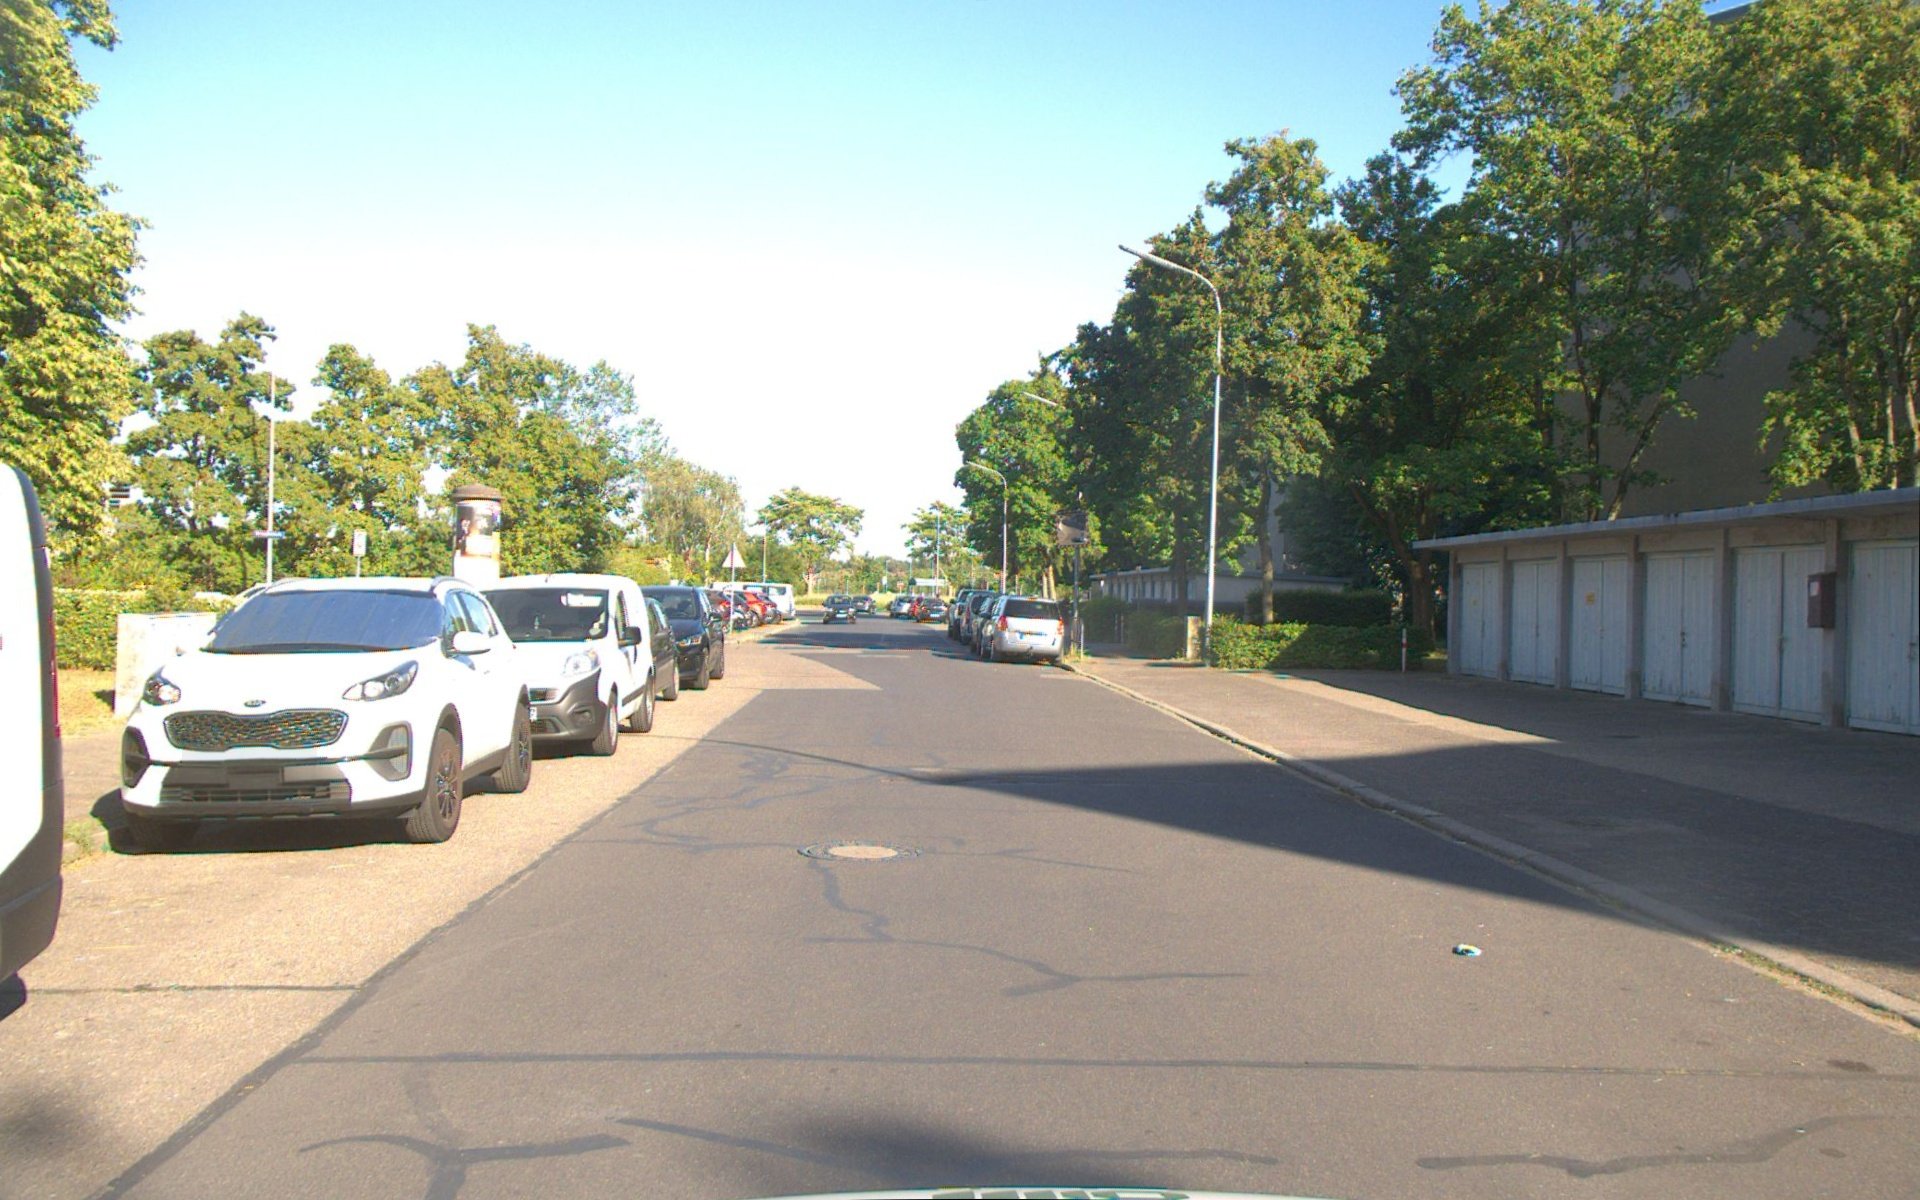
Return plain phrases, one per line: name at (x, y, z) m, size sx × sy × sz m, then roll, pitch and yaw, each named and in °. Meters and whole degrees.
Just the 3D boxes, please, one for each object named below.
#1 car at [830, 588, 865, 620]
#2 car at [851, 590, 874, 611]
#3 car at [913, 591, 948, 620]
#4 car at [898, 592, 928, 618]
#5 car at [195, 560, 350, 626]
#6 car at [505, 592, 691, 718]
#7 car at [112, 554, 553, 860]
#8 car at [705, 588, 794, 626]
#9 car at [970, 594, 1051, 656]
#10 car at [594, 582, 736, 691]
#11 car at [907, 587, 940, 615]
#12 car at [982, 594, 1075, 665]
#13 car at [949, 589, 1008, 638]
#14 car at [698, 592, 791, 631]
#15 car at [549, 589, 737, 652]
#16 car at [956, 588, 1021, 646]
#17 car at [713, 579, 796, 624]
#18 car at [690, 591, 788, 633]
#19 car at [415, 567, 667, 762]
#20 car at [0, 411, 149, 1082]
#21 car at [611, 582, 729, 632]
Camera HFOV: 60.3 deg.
car at (-6.009, 0.220, 87.917) m, size 1.761 × 1.589 × 3.948 m, roll 2°, pitch 0°, yaw -5°
car at (-7.789, 0.004, 131.598) m, size 1.647 × 1.540 × 4.100 m, roll 3°, pitch 0°, yaw -5°
car at (-1.718, 0.279, 95.671) m, size 1.761 × 1.575 × 3.948 m, roll 2°, pitch 0°, yaw -5°
car at (-3.244, 0.309, 112.998) m, size 1.761 × 1.672 × 3.948 m, roll 2°, pitch 0°, yaw -5°
car at (-18.247, -0.190, 44.001) m, size 3.431 × 1.589 × 1.605 m, roll 2°, pitch 0°, yaw -8°
car at (-4.700, 0.656, 21.995) m, size 1.711 × 1.504 × 4.151 m, roll 0°, pitch 0°, yaw -2°
car at (-4.036, 0.589, 11.434) m, size 1.712 × 1.699 × 4.373 m, roll 0°, pitch 0°, yaw -5°
car at (-9.765, 0.312, 76.743) m, size 3.977 × 1.589 × 1.799 m, roll 2°, pitch 0°, yaw -8°
car at (1.349, 0.665, 45.899) m, size 1.761 × 1.589 × 3.948 m, roll 2°, pitch 0°, yaw -5°
car at (-4.721, 0.539, 26.991) m, size 1.711 × 1.641 × 4.305 m, roll 0°, pitch 0°, yaw -2°
car at (-2.284, 0.062, 102.991) m, size 1.761 × 1.672 × 3.948 m, roll 2°, pitch 0°, yaw -5°
car at (1.638, 0.673, 40.557) m, size 1.761 × 1.589 × 3.948 m, roll 2°, pitch 0°, yaw -5°
car at (0.637, 0.467, 61.074) m, size 1.761 × 1.672 × 3.948 m, roll 2°, pitch 0°, yaw -5°
car at (-9.575, 0.508, 73.647) m, size 3.977 × 1.589 × 1.799 m, roll 2°, pitch 0°, yaw -8°
car at (-7.551, 0.473, 39.535) m, size 4.309 × 1.461 × 1.838 m, roll 0°, pitch 0°, yaw -12°
car at (0.938, 0.556, 56.434) m, size 1.761 × 1.817 × 3.948 m, roll 2°, pitch 0°, yaw -5°
car at (-10.175, 0.082, 82.098) m, size 3.977 × 2.027 × 1.799 m, roll 2°, pitch 0°, yaw -8°
car at (-9.268, 0.504, 69.591) m, size 3.977 × 1.589 × 1.799 m, roll 2°, pitch 0°, yaw -8°
car at (-4.144, 0.579, 16.976) m, size 1.711 × 1.762 × 4.003 m, roll 0°, pitch 0°, yaw -2°
car at (-3.734, 0.438, 3.295) m, size 1.876 × 1.997 × 5.085 m, roll 0°, pitch 0°, yaw -2°
car at (-10.261, 0.249, 58.797) m, size 3.977 × 1.589 × 1.799 m, roll 2°, pitch 0°, yaw -8°
